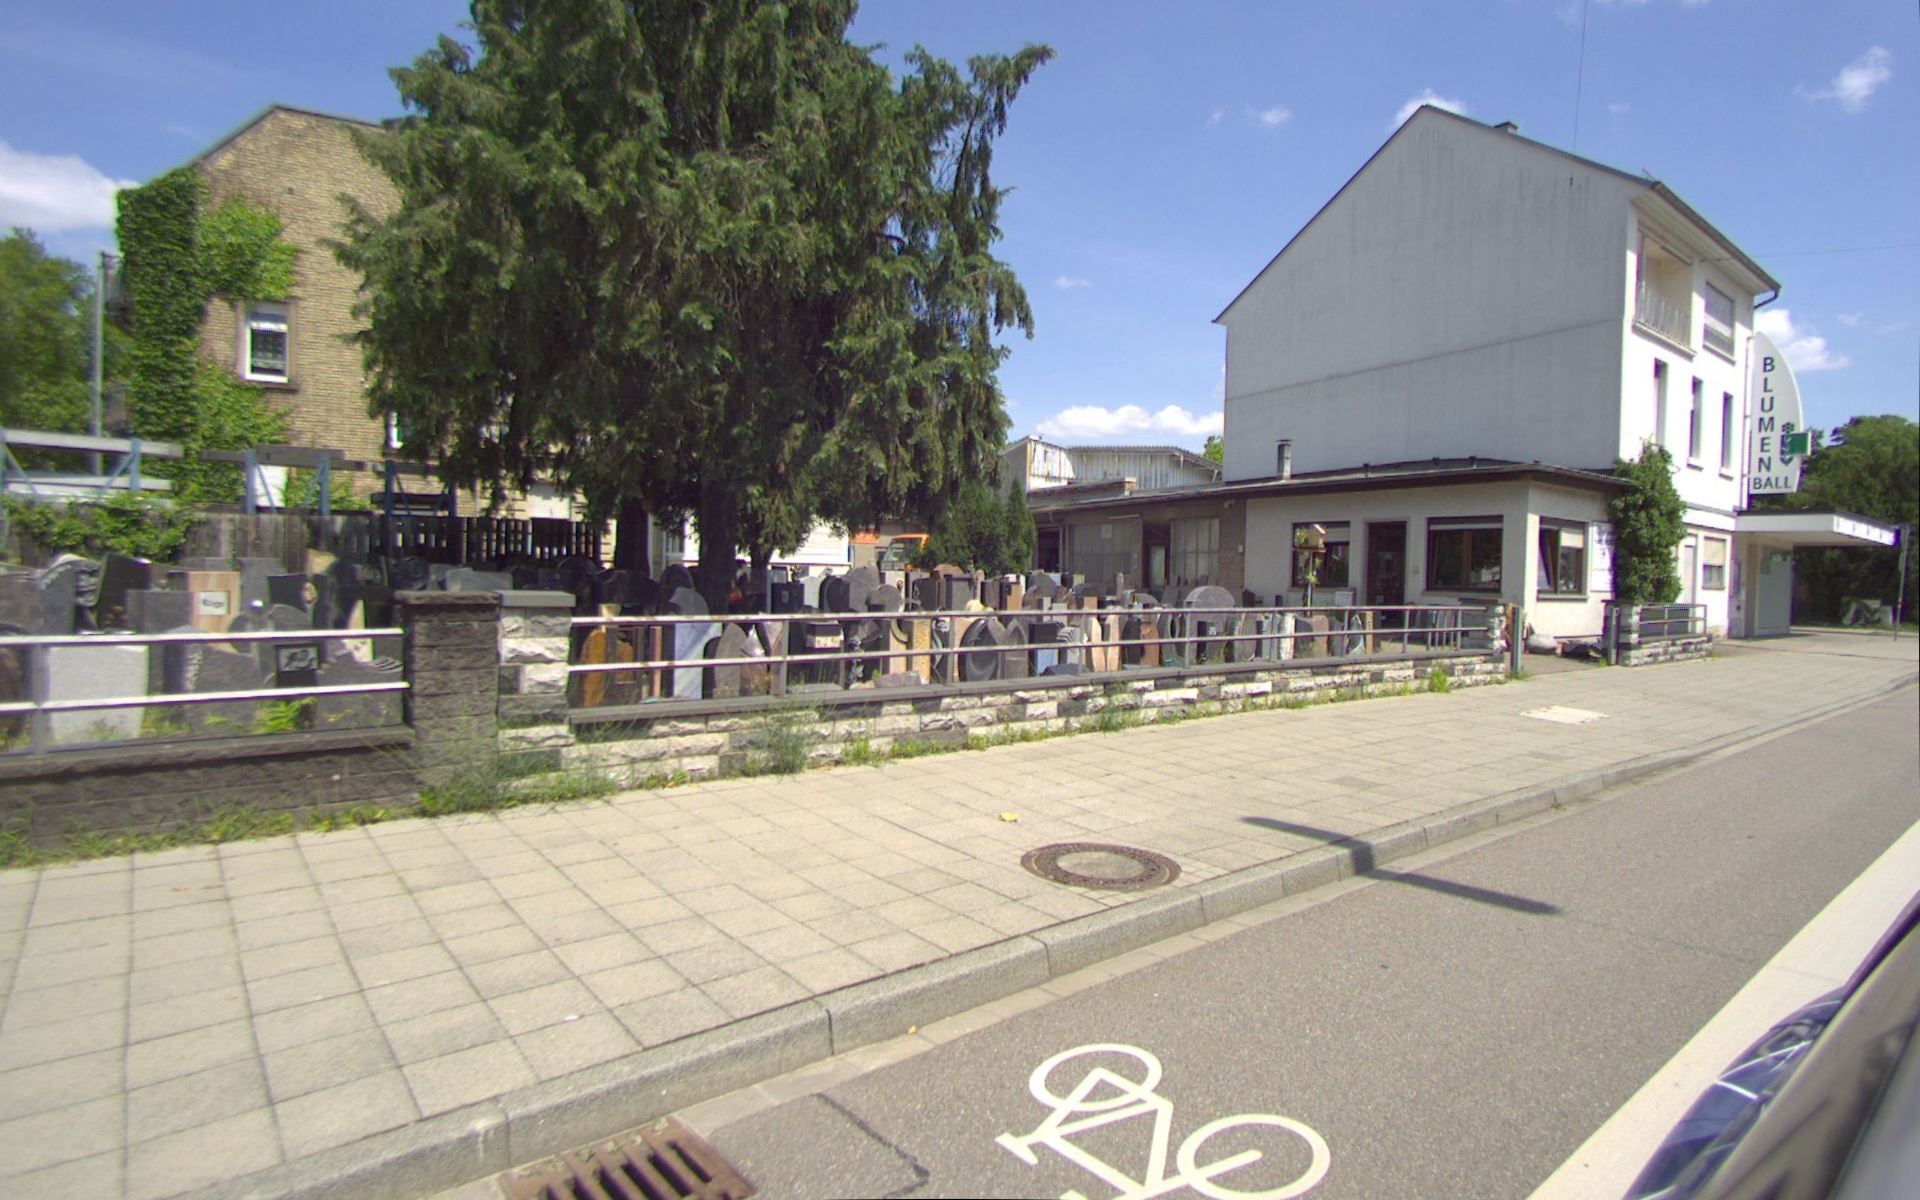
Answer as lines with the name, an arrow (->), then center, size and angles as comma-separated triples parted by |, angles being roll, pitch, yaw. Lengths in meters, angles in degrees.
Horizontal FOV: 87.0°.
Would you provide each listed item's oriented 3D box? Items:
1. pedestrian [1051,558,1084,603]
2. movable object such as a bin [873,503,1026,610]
pedestrian -> 3.251, -0.601, 30.650 | 0.704, 1.305, 0.646 | -1, 4, -39
movable object such as a bin -> -0.255, -1.159, 26.971 | 3.739, 2.650, 1.745 | -1, 4, -38
